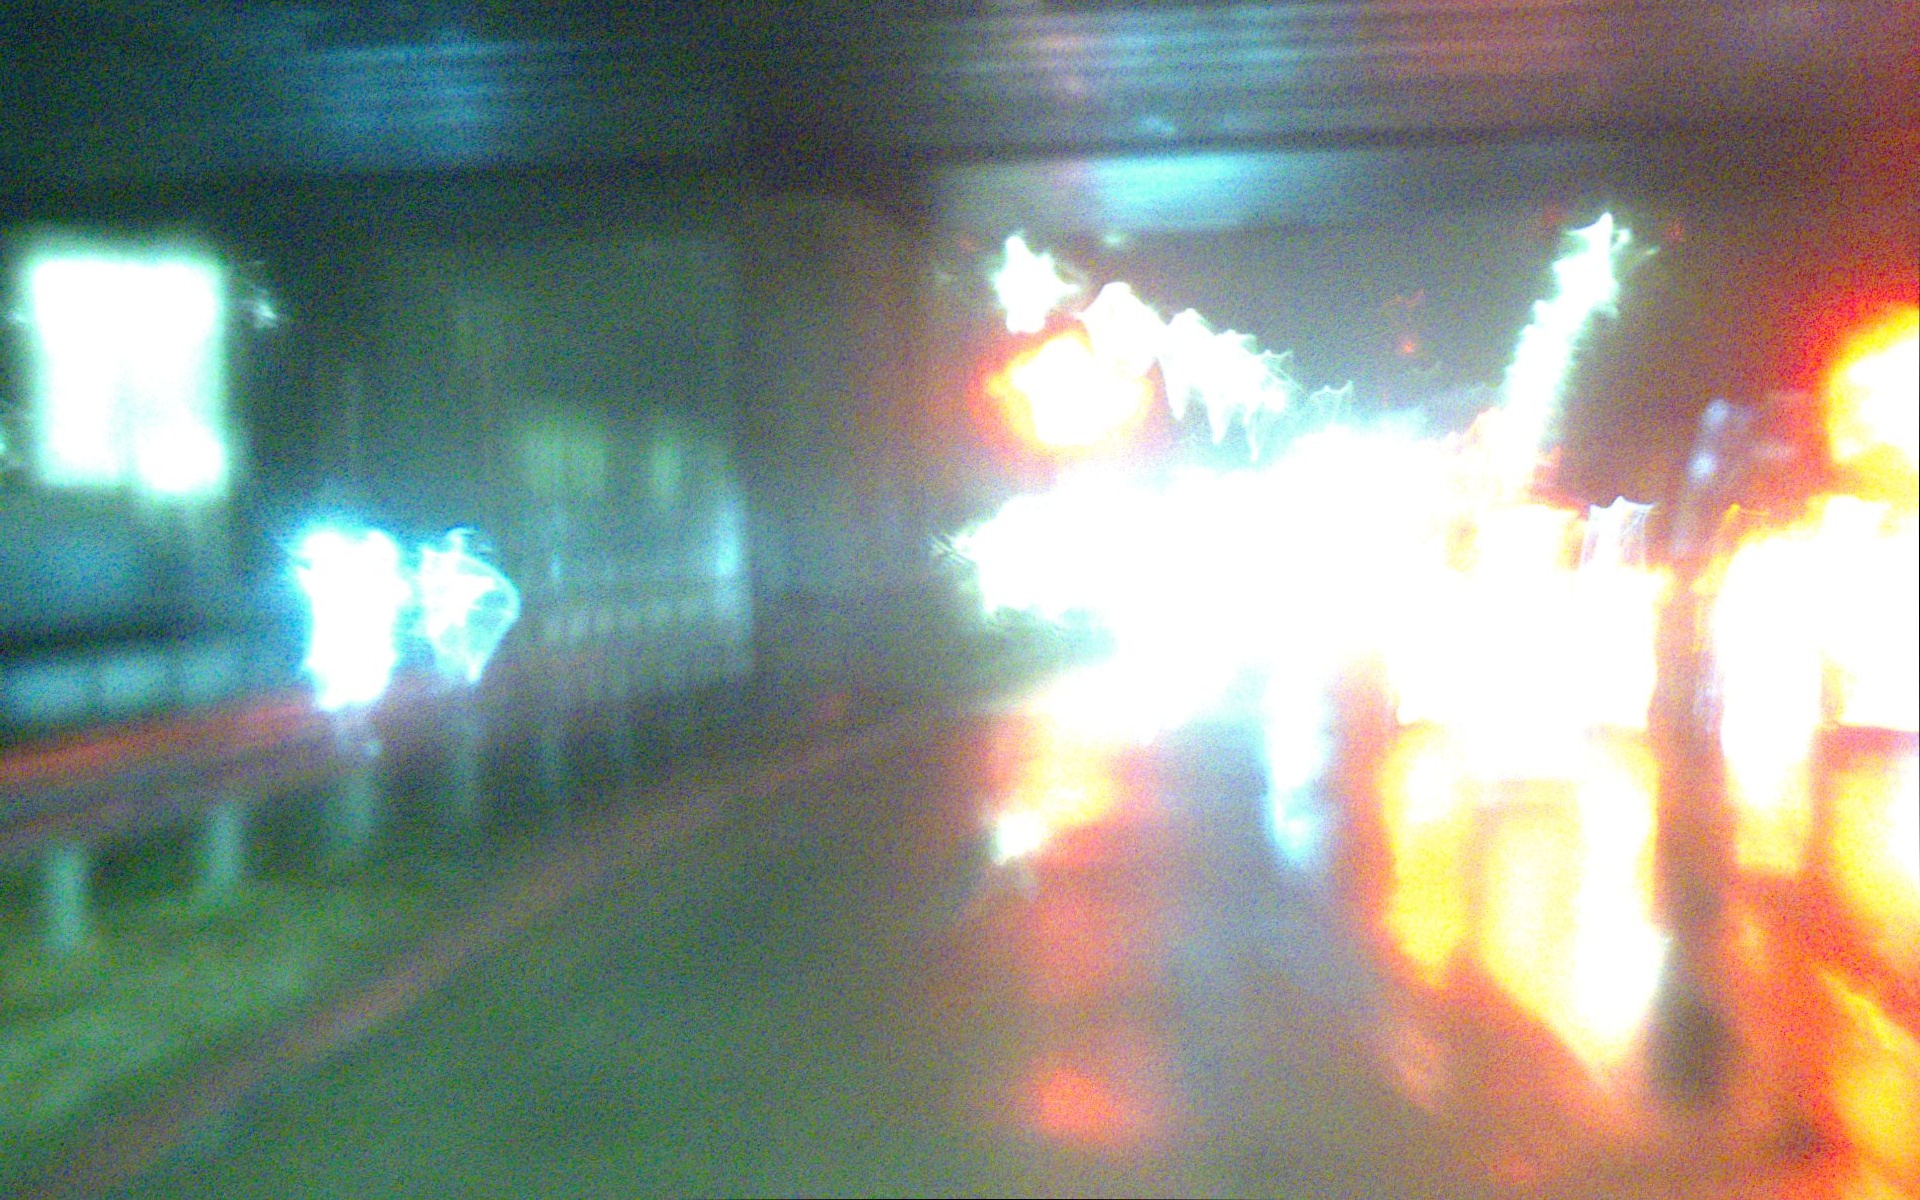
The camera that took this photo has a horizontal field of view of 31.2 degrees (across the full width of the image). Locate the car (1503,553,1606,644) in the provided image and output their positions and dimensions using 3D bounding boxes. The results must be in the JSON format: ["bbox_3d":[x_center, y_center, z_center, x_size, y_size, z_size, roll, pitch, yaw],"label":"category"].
[{"bbox_3d":[11.459,-0.034,66.128,1.789,1.678,3.998,0,0,12],"label":"car"}]

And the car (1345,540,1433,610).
[{"bbox_3d":[10.595,-0.612,84.677,1.789,1.678,3.998,0,0,12],"label":"car"}]

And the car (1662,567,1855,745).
[{"bbox_3d":[8.031,0.524,34.749,1.789,1.678,3.998,0,0,12],"label":"car"}]

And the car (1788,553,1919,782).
[{"bbox_3d":[7.636,0.480,27.641,1.789,1.678,3.998,0,1,12],"label":"car"}]

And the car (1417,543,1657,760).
[{"bbox_3d":[4.903,0.396,28.847,1.789,1.678,3.998,0,0,12],"label":"car"}]
